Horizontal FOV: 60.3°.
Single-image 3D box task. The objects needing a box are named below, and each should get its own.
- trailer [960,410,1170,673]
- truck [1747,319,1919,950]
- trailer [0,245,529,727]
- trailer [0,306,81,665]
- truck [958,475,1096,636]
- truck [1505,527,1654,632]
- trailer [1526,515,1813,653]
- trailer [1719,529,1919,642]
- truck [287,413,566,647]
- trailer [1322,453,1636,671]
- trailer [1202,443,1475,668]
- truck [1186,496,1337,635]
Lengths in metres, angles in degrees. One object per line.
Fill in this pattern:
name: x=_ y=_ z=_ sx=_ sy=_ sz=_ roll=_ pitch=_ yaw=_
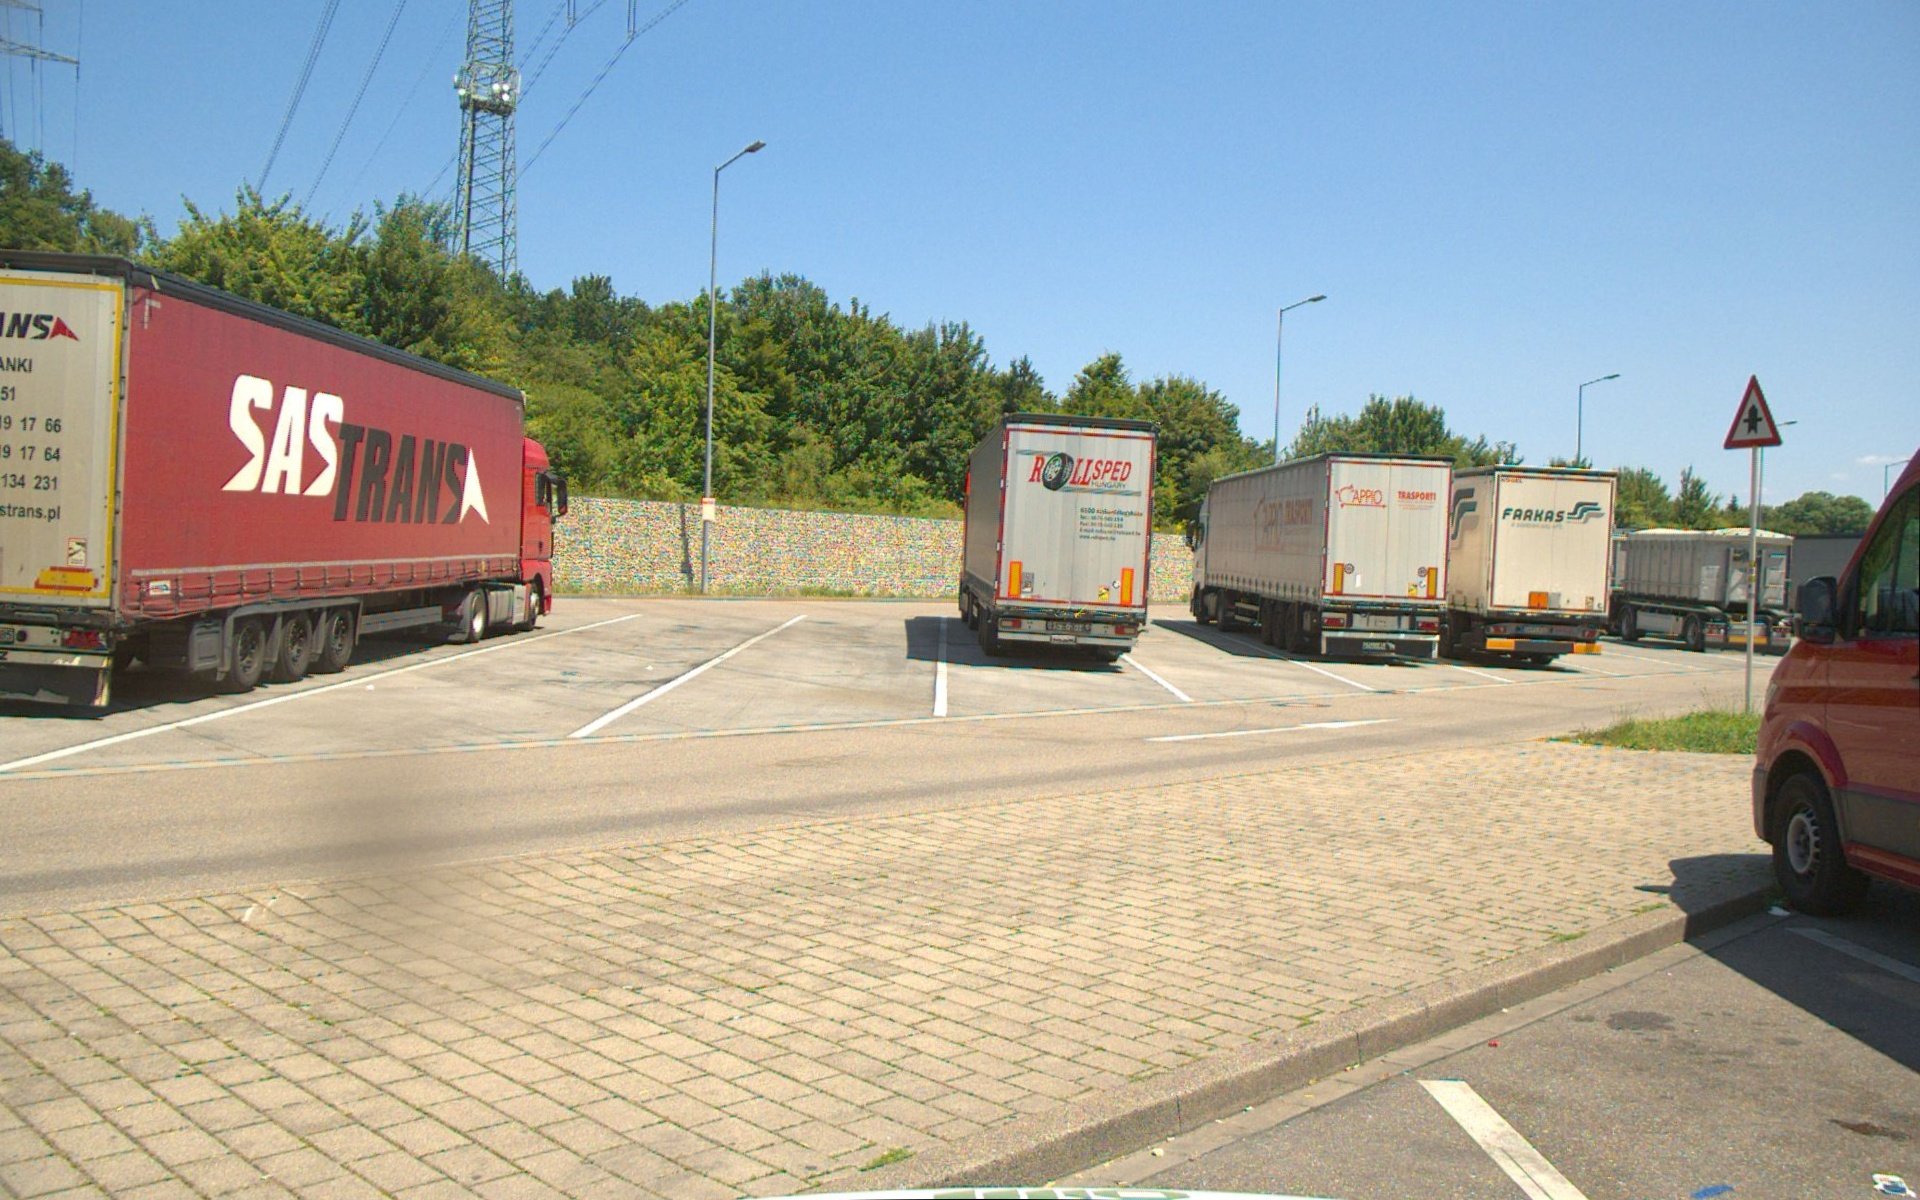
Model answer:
trailer: x=1.672 y=-1.173 z=33.152 sx=2.800 sy=4.040 sz=13.761 roll=2 pitch=2 yaw=-2
truck: x=4.995 y=0.158 z=5.522 sx=1.969 sy=2.697 sz=6.457 roll=1 pitch=0 yaw=3
trailer: x=-8.692 y=-1.268 z=21.253 sx=2.764 sy=4.141 sz=13.763 roll=2 pitch=2 yaw=-1
trailer: x=-12.488 y=-1.256 z=15.795 sx=2.651 sy=4.173 sz=10.389 roll=2 pitch=2 yaw=-1
truck: x=1.470 y=-1.089 z=39.349 sx=2.808 sy=3.421 sz=5.974 roll=2 pitch=2 yaw=-1
truck: x=21.728 y=-0.792 z=58.348 sx=2.808 sy=3.421 sz=5.974 roll=2 pitch=2 yaw=-1
trailer: x=21.828 y=-0.678 z=52.253 sx=2.800 sy=3.662 sz=13.762 roll=2 pitch=2 yaw=-1
trailer: x=34.778 y=-0.707 z=65.455 sx=2.800 sy=3.972 sz=13.762 roll=2 pitch=2 yaw=-1
truck: x=-8.802 y=-1.160 z=28.068 sx=2.755 sy=3.421 sz=5.974 roll=2 pitch=2 yaw=-1
trailer: x=11.764 y=-0.988 z=39.572 sx=2.800 sy=4.180 sz=13.762 roll=2 pitch=2 yaw=-1
trailer: x=8.244 y=-1.099 z=38.507 sx=2.800 sy=4.180 sz=13.762 roll=2 pitch=2 yaw=-1
truck: x=8.121 y=-0.982 z=45.269 sx=2.808 sy=3.421 sz=5.974 roll=2 pitch=2 yaw=-1
